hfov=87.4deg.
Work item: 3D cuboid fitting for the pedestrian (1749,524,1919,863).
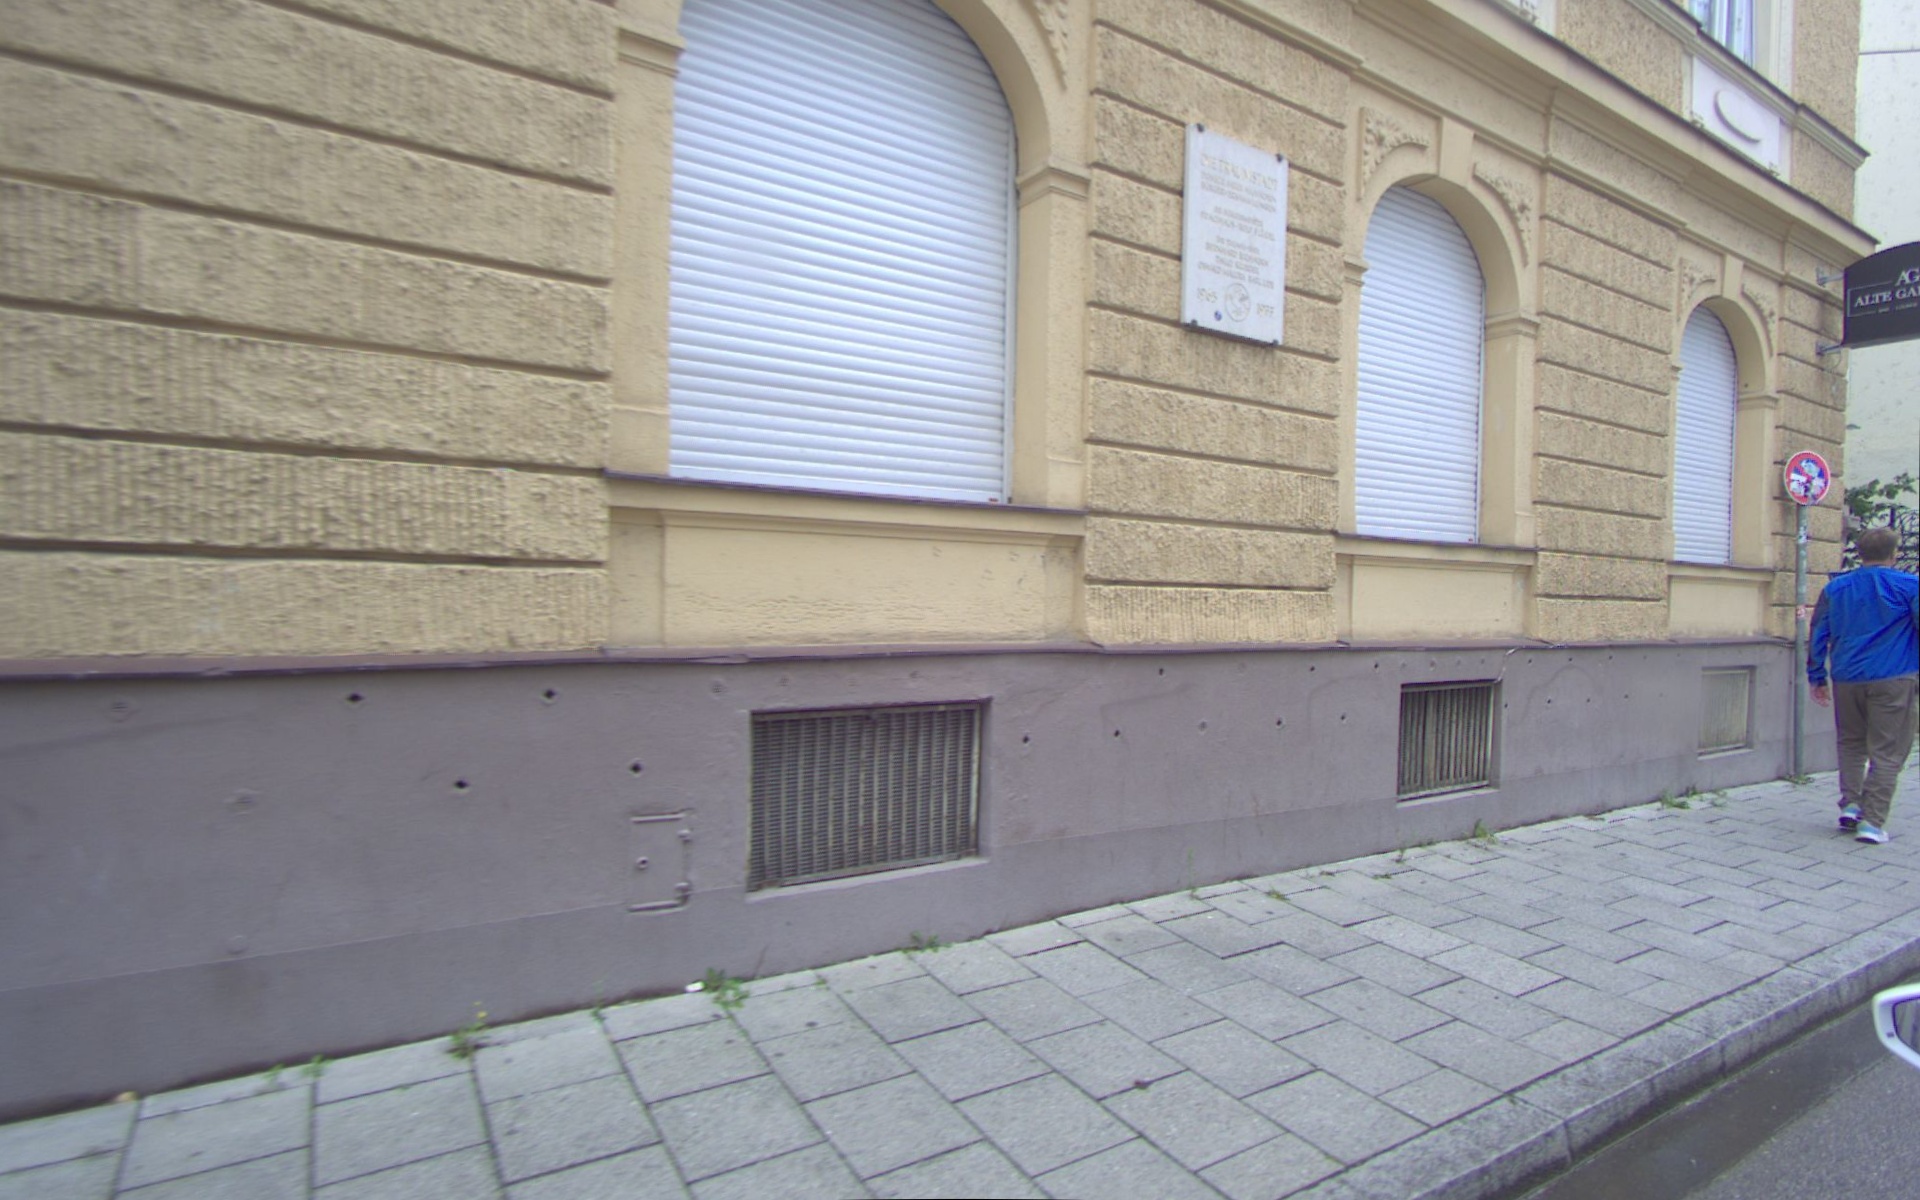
[{"bbox_3d":[5.561,0.512,6.153,1.065,1.879,0.752,1,2,-33],"label":"pedestrian"}]
